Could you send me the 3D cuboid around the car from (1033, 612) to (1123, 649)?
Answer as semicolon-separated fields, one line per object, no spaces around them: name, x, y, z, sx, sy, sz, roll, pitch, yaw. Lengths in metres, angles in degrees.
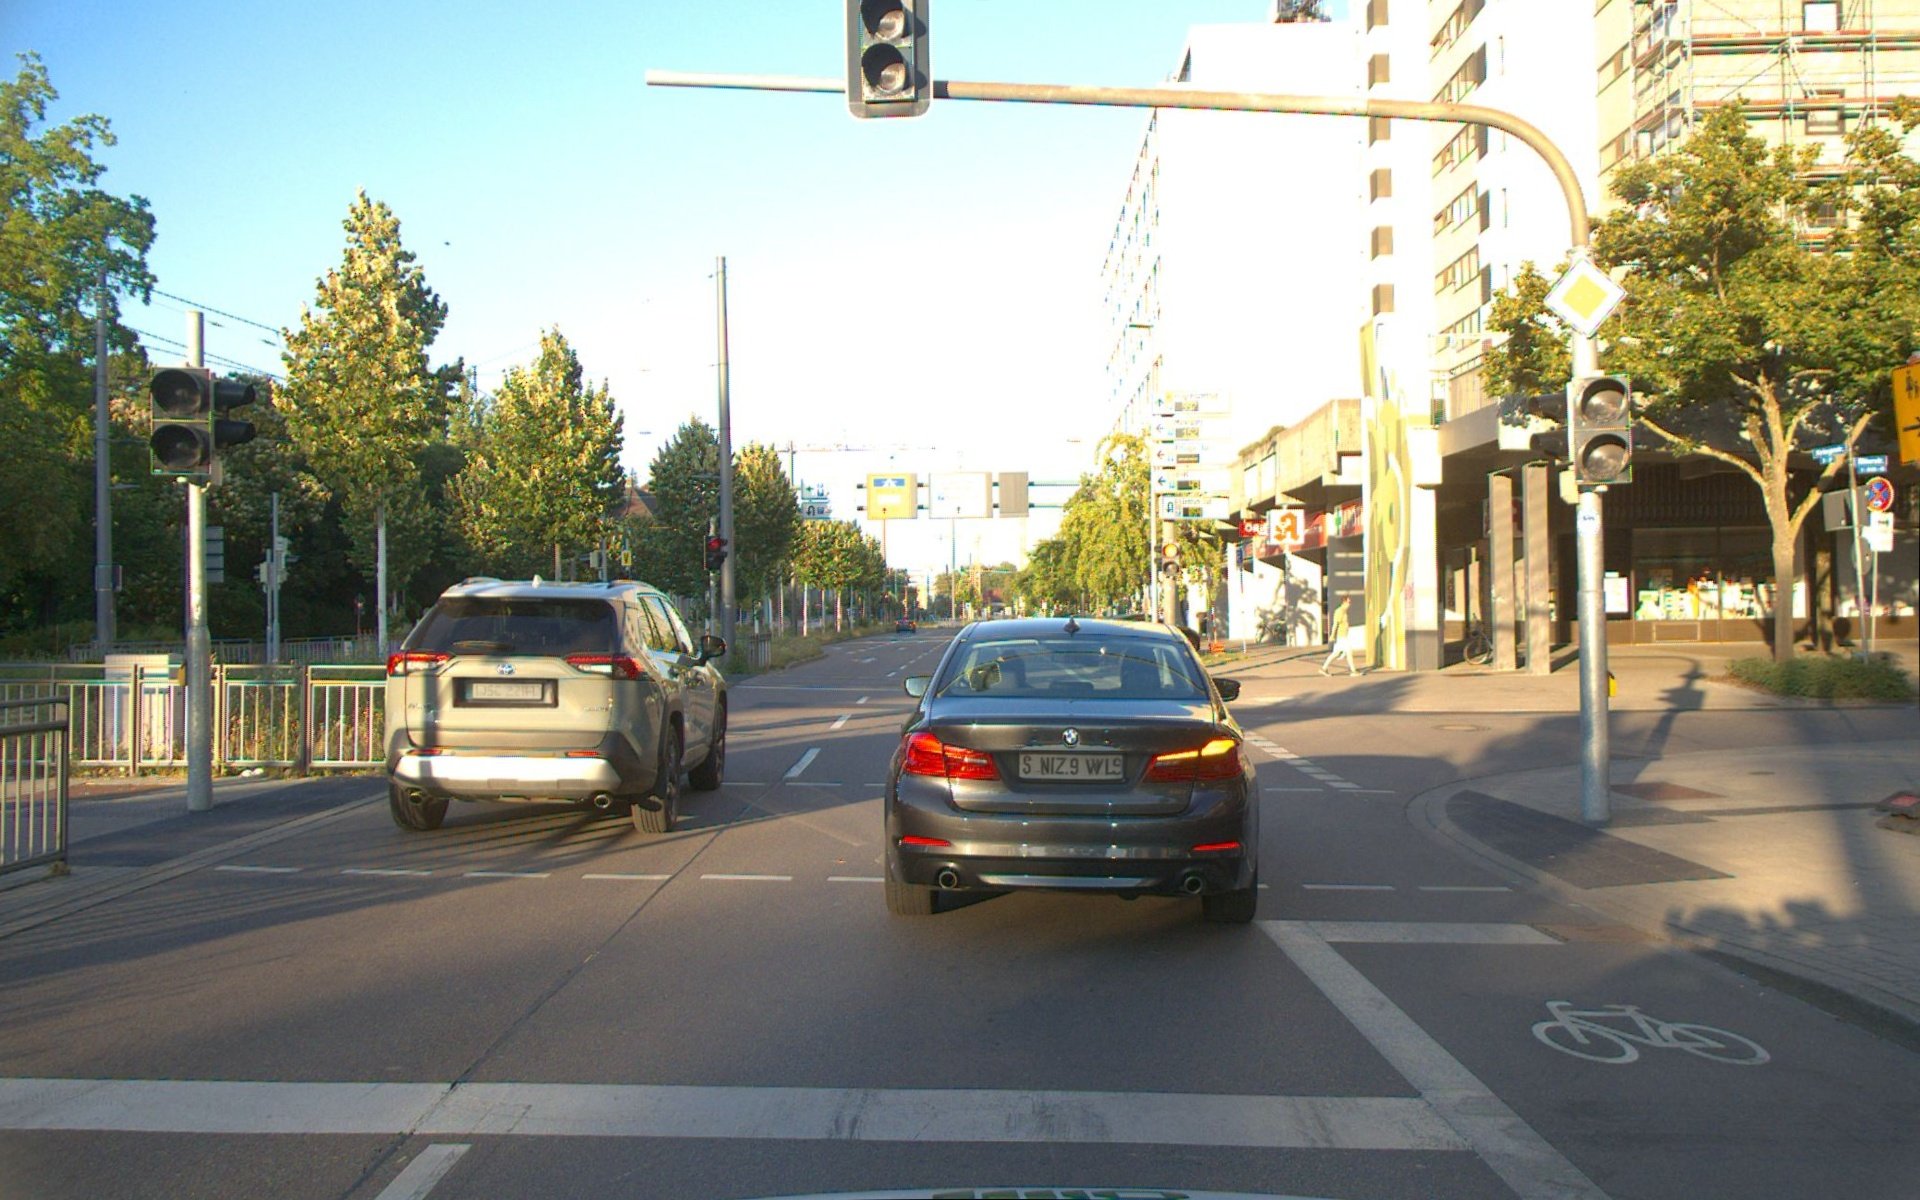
car;5.770;1.481;80.808;4.221;1.687;1.837;0;1;-36

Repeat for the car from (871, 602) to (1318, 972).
car;0.598;0.801;9.308;1.892;1.507;4.523;0;1;1

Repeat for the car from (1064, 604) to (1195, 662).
car;5.371;1.004;52.229;4.235;1.687;1.831;0;1;-44

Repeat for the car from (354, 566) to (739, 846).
car;-2.794;0.623;12.184;1.817;1.687;4.268;0;1;-1

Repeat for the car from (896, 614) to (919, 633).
car;-4.483;2.024;142.308;1.939;1.458;4.842;0;1;-1

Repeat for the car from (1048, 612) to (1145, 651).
car;6.144;1.397;74.449;4.222;1.687;1.836;0;1;-37

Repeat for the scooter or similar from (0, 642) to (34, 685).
scooter or similar;-26.738;1.769;46.314;0.502;1.173;1.330;-1;-1;31

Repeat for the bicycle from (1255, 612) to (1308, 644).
bicycle;12.600;1.113;64.824;1.974;1.169;0.691;2;-2;5

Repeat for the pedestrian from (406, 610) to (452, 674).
pedestrian;-13.767;1.083;42.903;0.817;1.614;0.812;-1;-1;12

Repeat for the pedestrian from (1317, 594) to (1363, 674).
pedestrian;8.378;0.740;36.486;0.818;1.742;0.647;-1;-1;-2

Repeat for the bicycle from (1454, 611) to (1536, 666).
bicycle;12.005;0.855;37.179;0.678;1.169;2.011;3;-2;-19

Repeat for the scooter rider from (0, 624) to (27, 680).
scooter rider;-26.749;1.464;46.349;0.639;1.541;0.821;-1;-1;31
